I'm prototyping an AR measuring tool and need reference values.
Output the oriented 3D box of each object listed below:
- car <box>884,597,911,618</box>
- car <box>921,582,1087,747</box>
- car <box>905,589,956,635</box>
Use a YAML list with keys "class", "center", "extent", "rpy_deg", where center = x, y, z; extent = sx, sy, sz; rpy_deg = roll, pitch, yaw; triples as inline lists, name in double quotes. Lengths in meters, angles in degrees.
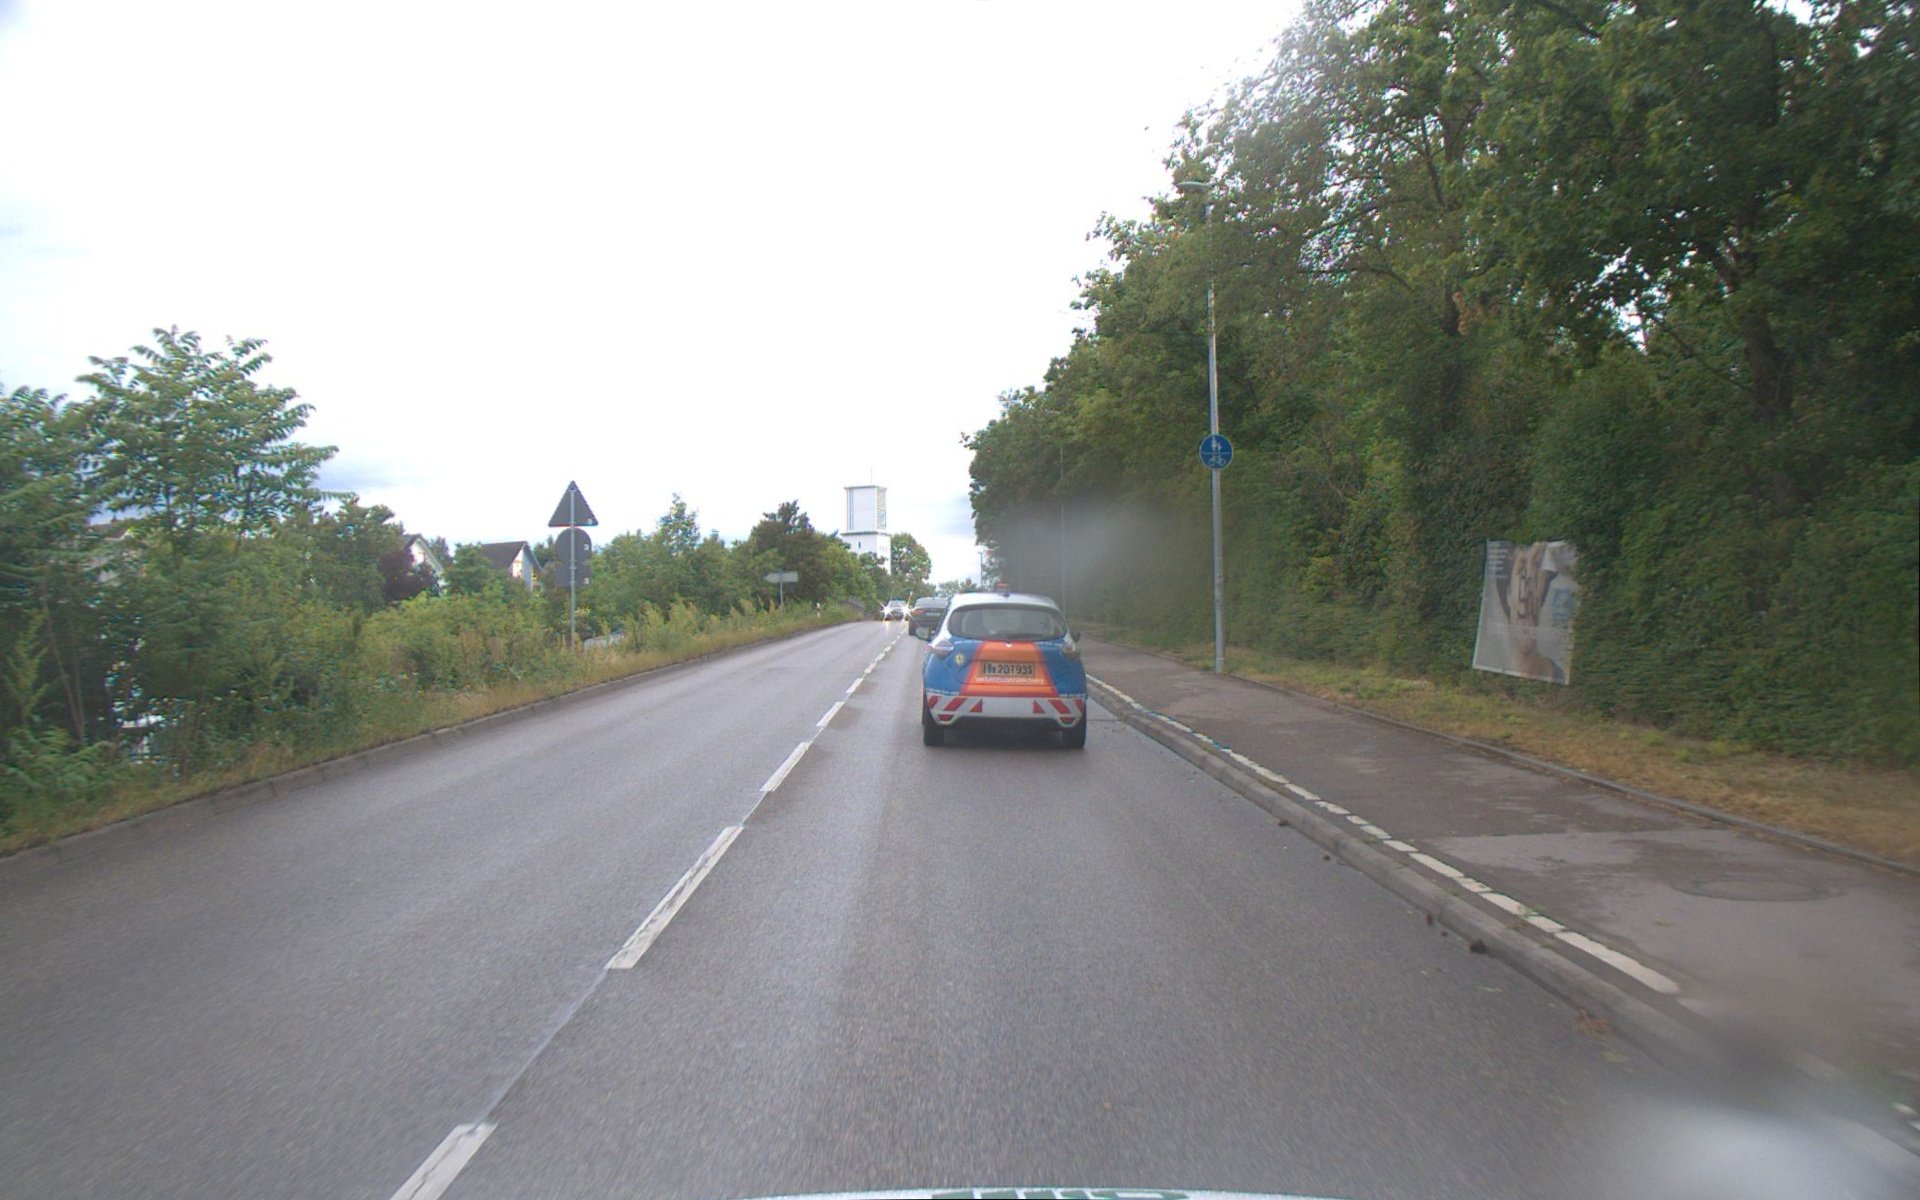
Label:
- class: "car"
  center: [-5.023, 0.599, 133.078]
  extent: [1.830, 1.613, 4.415]
  rpy_deg: [1, 0, 2]
- class: "car"
  center: [0.406, 0.672, 18.048]
  extent: [1.624, 1.621, 3.567]
  rpy_deg: [0, -1, -1]
- class: "car"
  center: [-1.145, 0.464, 62.083]
  extent: [1.766, 1.618, 3.561]
  rpy_deg: [-2, -1, -3]
